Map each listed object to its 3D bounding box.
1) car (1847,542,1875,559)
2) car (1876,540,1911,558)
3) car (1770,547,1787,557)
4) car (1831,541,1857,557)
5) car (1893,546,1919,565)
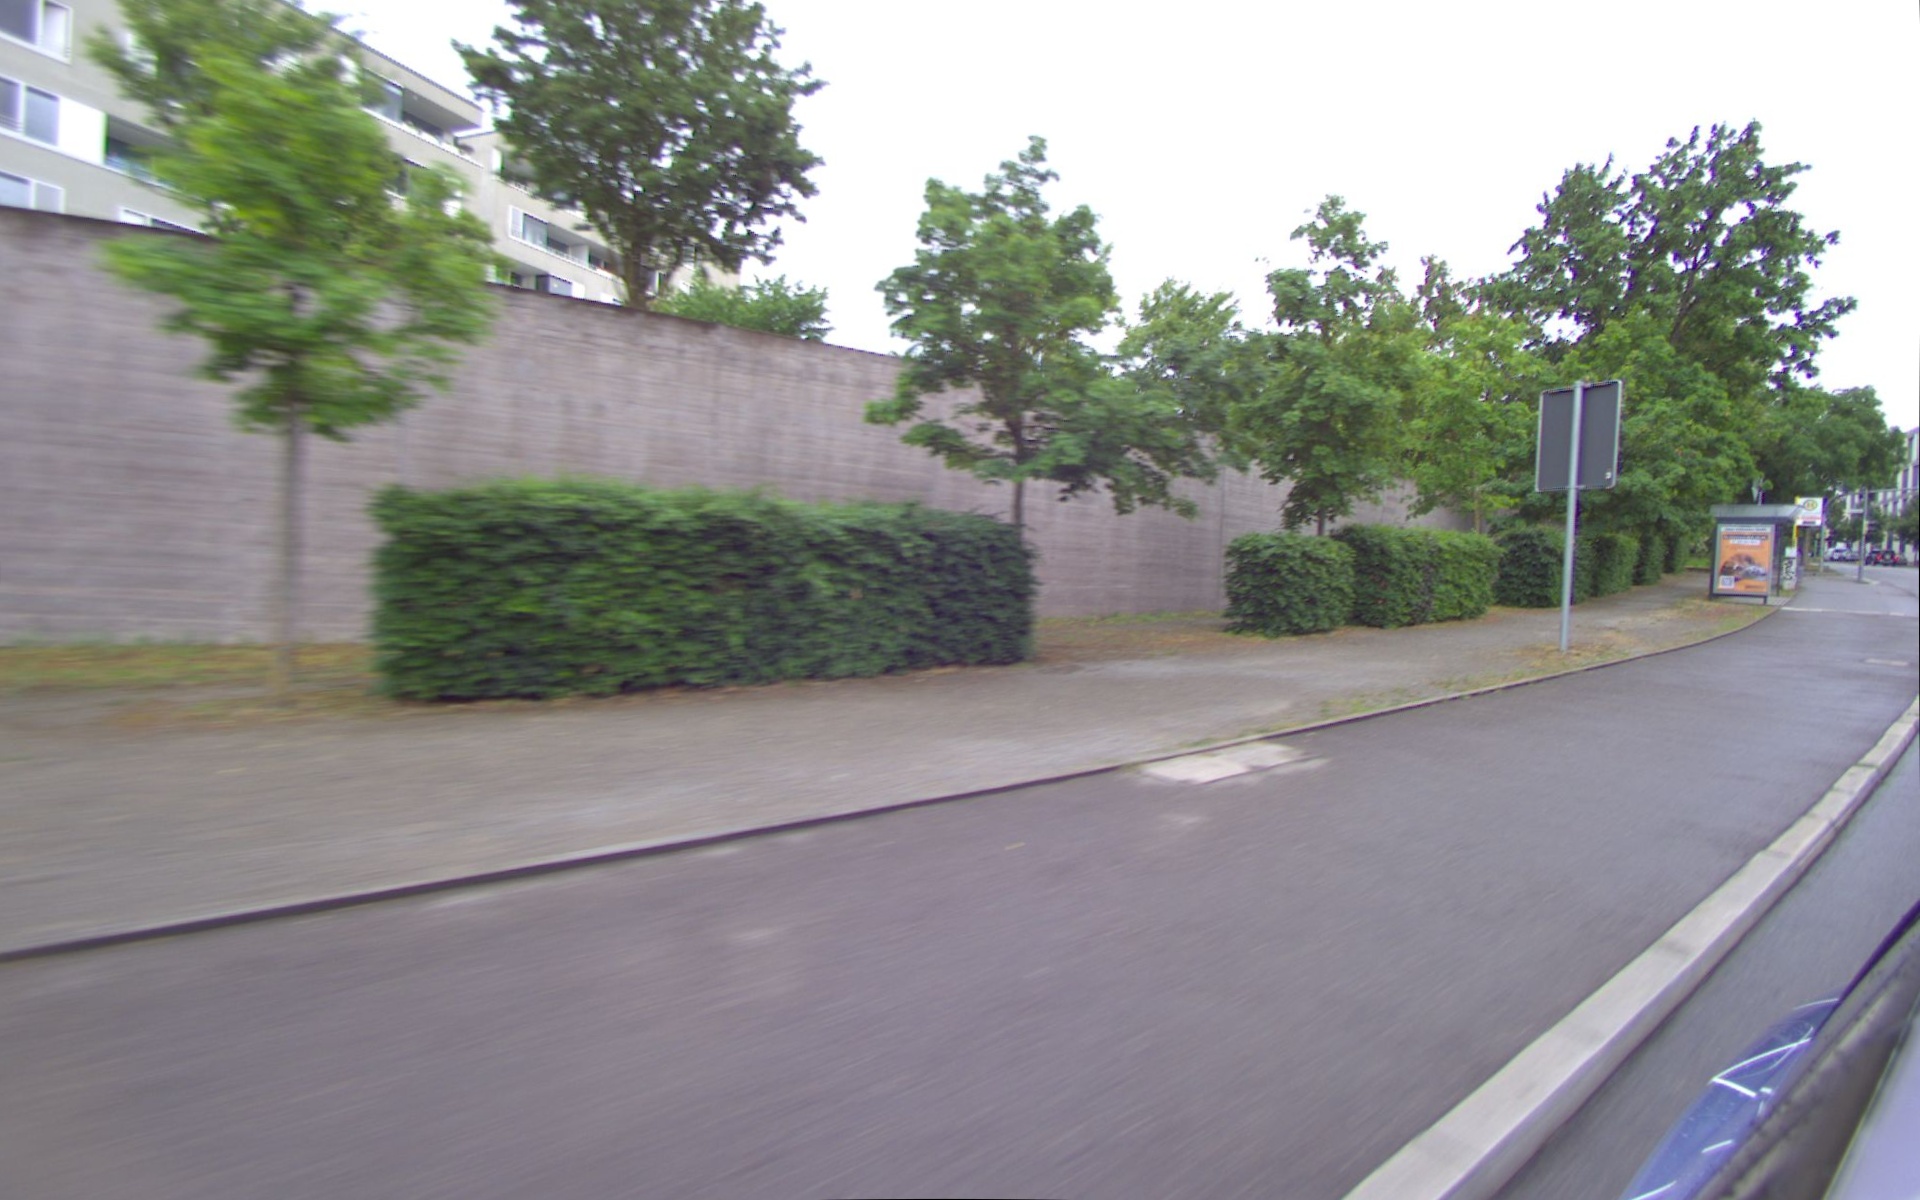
[{"bbox_3d":[117.257,-6.447,131.732,1.910,2.038,4.338,2,2,31],"label":"car"},{"bbox_3d":[102.706,-5.616,111.349,1.951,1.861,4.400,3,4,32],"label":"car"},{"bbox_3d":[149.114,-8.810,184.454,1.986,1.771,3.953,2,3,34],"label":"car"},{"bbox_3d":[120.104,-6.954,137.545,1.910,2.038,4.338,2,2,31],"label":"car"},{"bbox_3d":[108.261,-5.031,115.352,1.910,2.038,4.338,2,2,31],"label":"car"}]
